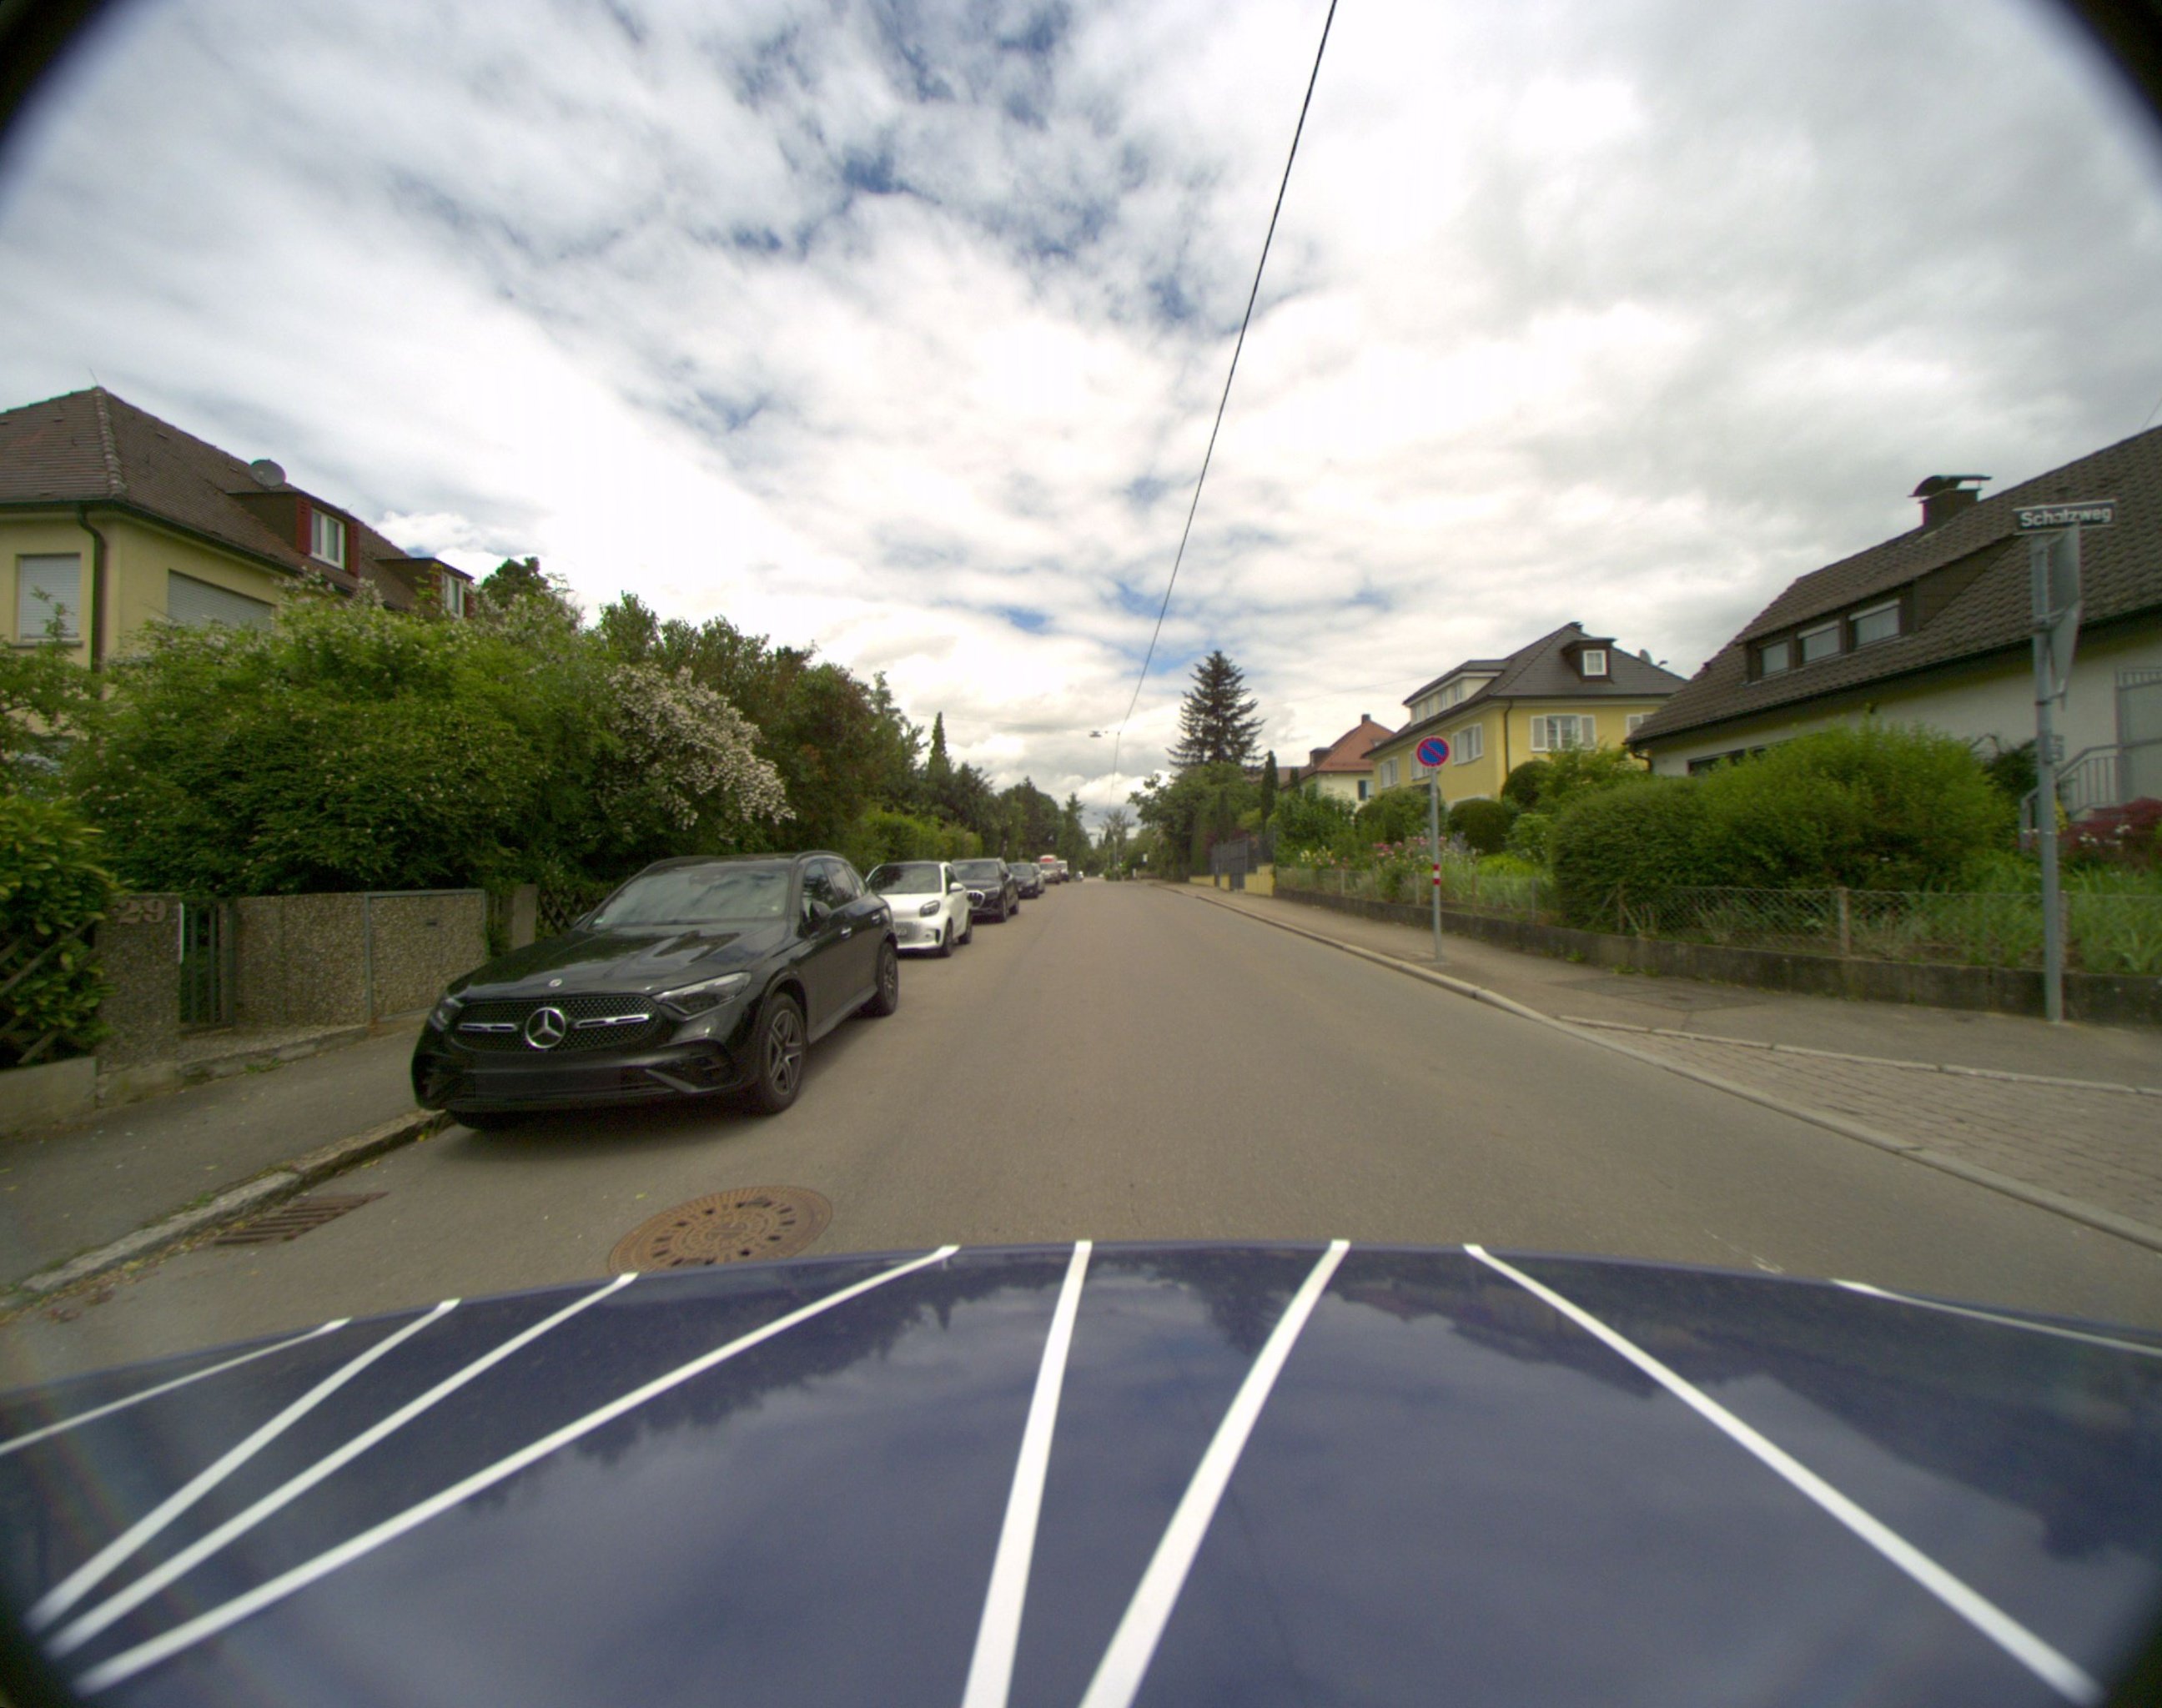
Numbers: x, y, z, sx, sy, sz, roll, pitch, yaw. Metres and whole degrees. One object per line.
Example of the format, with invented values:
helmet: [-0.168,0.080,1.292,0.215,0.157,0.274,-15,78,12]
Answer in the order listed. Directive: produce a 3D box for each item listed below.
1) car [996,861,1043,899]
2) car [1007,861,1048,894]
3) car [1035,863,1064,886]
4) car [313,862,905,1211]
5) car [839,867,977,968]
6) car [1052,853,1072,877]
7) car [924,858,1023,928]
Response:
car: [-2.485,1.030,31.457,1.721,1.451,4.140,-1,-1,-2]
car: [-2.505,1.086,36.508,1.761,1.468,4.358,-1,-1,-2]
car: [-2.266,1.505,54.952,1.878,1.622,4.127,-1,-2,0]
car: [-2.860,0.935,5.996,1.955,1.617,4.375,-2,0,-1]
car: [-2.837,0.998,13.047,1.602,1.501,3.014,-1,-1,1]
car: [-1.901,1.122,75.848,1.854,2.210,5.368,-2,-1,-1]
car: [-2.661,0.928,19.710,1.805,1.582,4.141,-1,0,2]
